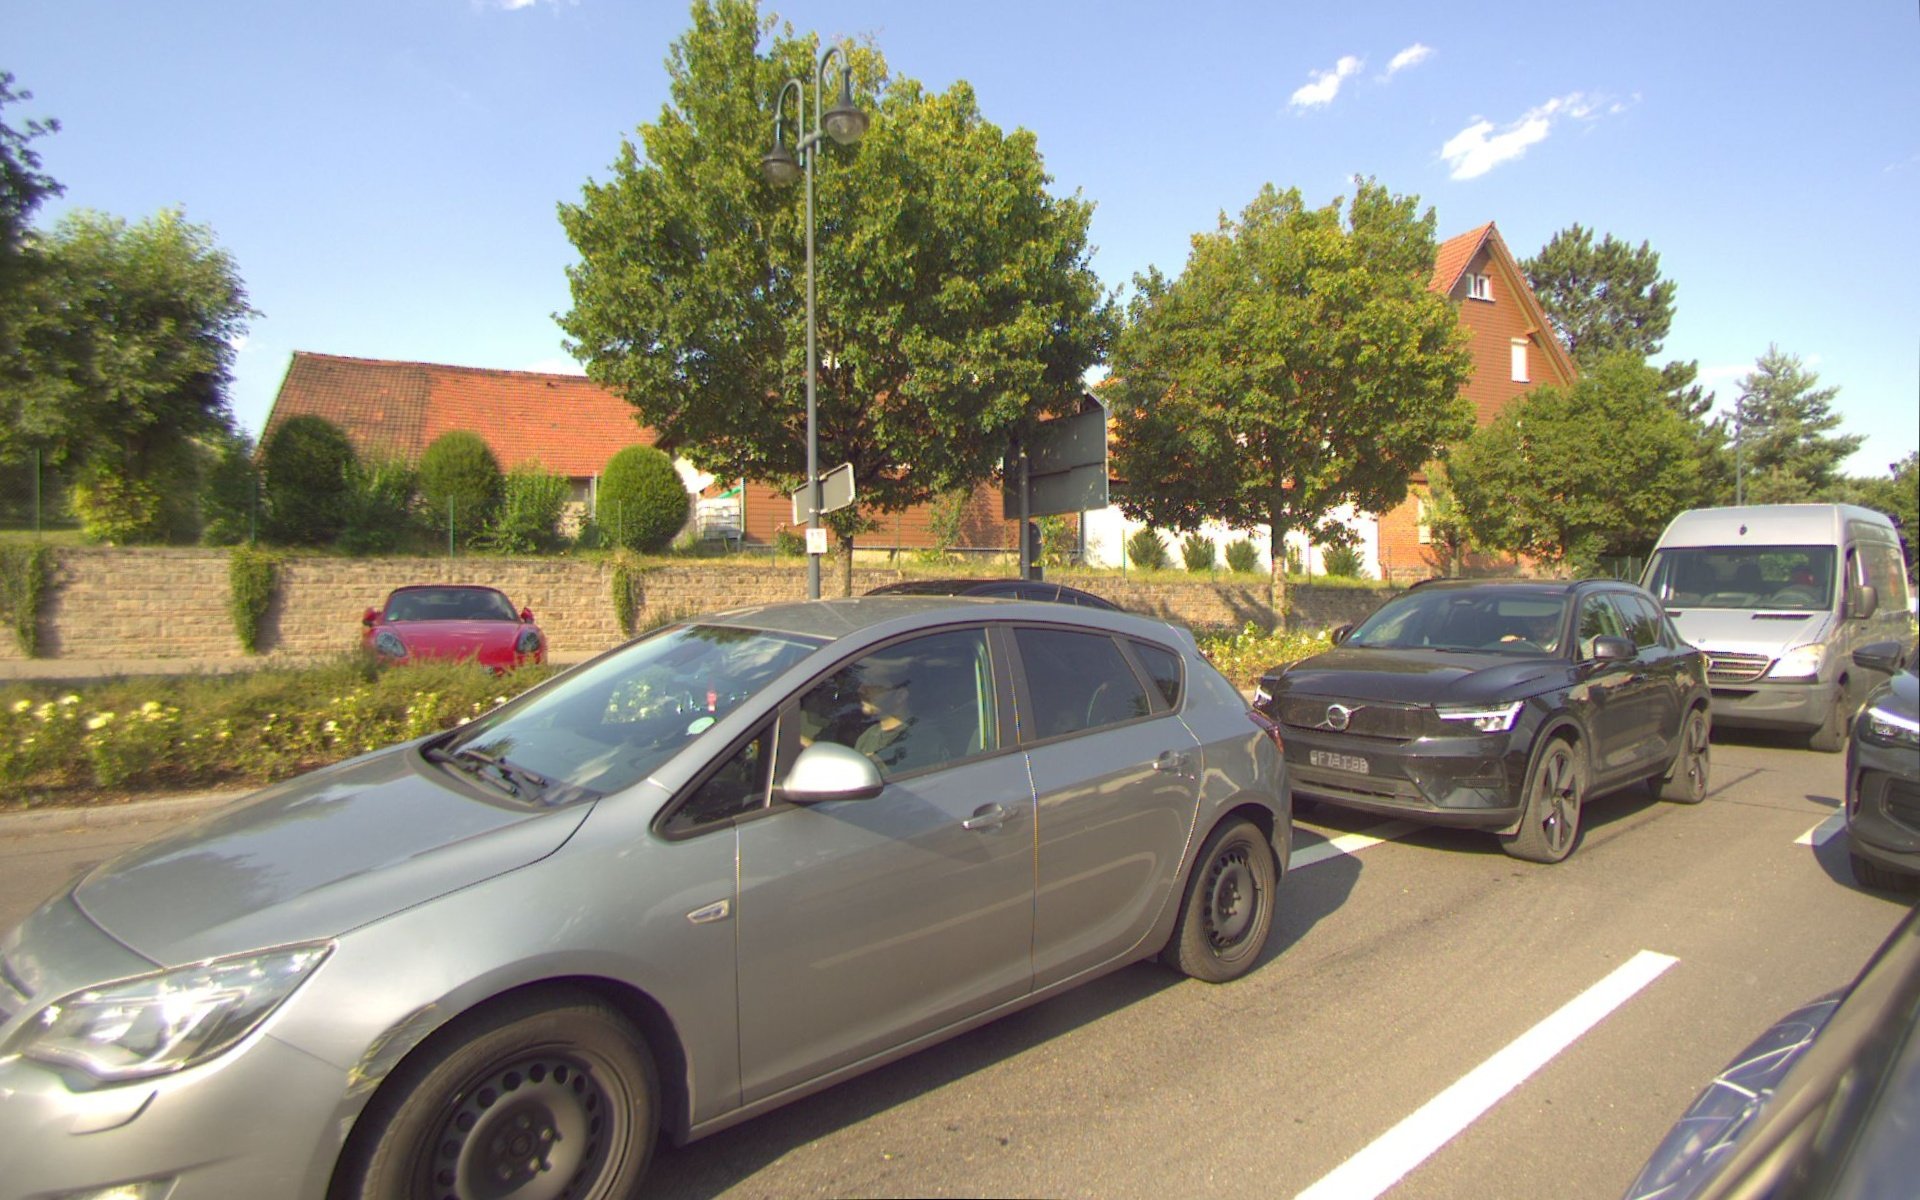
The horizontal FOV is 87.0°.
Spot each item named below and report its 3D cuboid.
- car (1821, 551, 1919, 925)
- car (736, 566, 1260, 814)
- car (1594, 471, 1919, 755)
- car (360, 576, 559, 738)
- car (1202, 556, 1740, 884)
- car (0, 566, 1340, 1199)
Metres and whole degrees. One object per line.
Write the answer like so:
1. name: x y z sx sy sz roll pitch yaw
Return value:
1. car: 6.199 0.615 5.323 4.242 1.629 1.844 0 2 -40
2. car: 0.514 0.563 8.777 4.483 1.628 1.766 0 2 -39
3. car: 9.702 0.083 11.948 5.938 2.601 1.992 0 1 -40
4. car: -5.912 0.520 11.699 1.743 1.510 4.156 0 0 -31
5. car: 3.765 0.565 7.116 4.242 1.629 1.844 0 2 -40
6. car: -0.574 0.662 3.508 4.244 1.471 1.765 0 2 -42
